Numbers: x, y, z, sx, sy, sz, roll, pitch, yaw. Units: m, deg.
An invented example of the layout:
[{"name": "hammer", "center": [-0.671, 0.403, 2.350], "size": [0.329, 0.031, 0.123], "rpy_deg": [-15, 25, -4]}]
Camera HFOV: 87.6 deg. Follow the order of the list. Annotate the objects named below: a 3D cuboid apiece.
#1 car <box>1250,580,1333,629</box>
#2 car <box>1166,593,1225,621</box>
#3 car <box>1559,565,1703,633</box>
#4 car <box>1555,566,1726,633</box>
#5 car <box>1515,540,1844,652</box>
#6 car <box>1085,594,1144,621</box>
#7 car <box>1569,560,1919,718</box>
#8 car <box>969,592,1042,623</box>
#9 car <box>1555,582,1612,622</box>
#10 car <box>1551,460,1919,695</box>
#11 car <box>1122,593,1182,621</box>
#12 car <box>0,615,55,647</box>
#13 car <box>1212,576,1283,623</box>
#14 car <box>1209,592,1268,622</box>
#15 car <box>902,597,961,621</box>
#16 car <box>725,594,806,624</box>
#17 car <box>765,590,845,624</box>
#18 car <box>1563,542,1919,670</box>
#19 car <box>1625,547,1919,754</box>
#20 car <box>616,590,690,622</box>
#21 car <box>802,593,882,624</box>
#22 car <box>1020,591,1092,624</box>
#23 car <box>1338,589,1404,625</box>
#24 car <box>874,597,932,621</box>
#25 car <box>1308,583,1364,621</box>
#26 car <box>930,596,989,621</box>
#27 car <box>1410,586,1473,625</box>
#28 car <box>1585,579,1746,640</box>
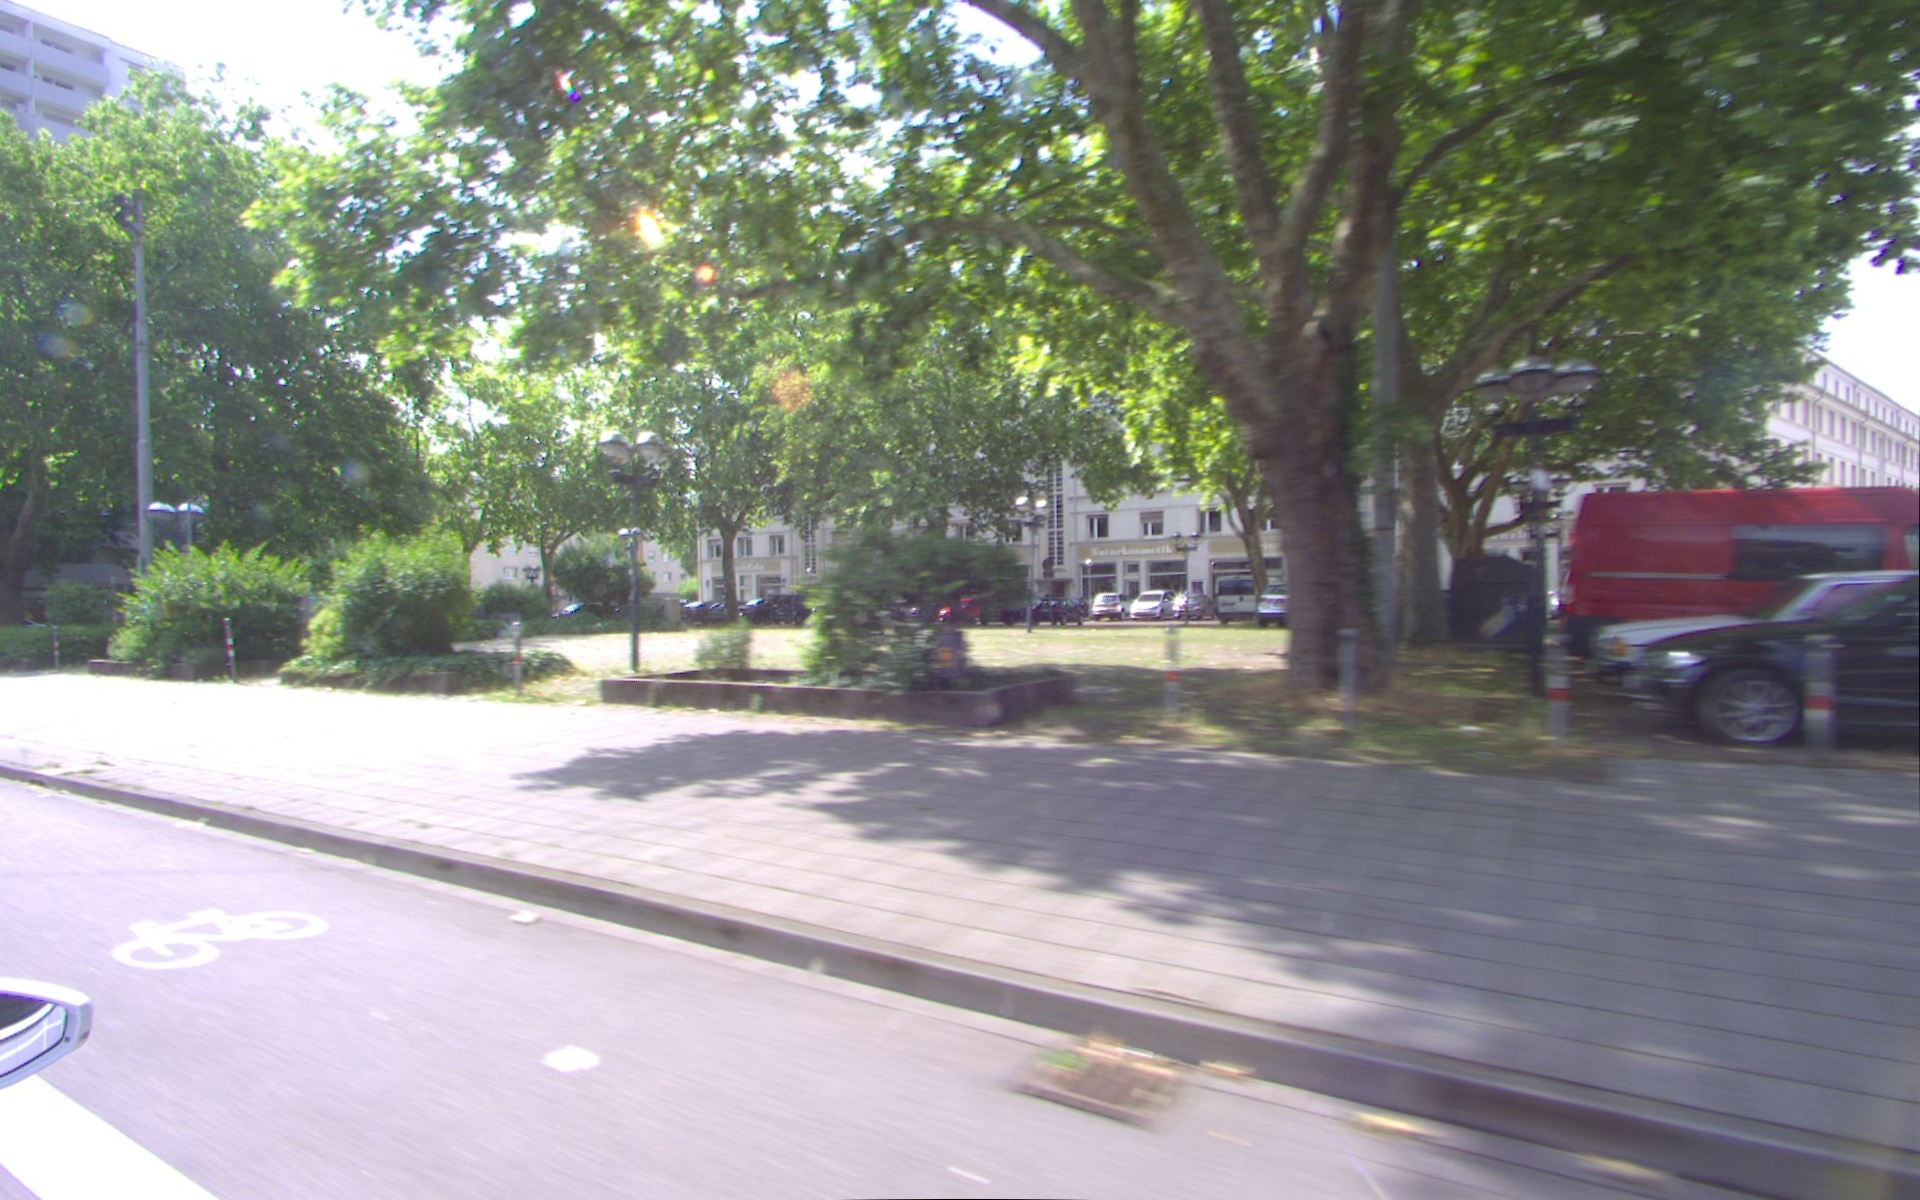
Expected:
[{"name": "car", "center": [12.143, 0.136, 36.557], "size": [1.971, 1.658, 4.143], "rpy_deg": [0, 1, 32]}, {"name": "car", "center": [13.707, 0.382, 58.037], "size": [1.957, 1.570, 4.671], "rpy_deg": [0, 1, 32]}, {"name": "car", "center": [20.865, -0.037, 31.323], "size": [3.587, 2.014, 1.819], "rpy_deg": [0, 1, 30]}, {"name": "car", "center": [19.767, -0.007, 29.316], "size": [3.987, 1.844, 1.820], "rpy_deg": [0, 0, 30]}, {"name": "car", "center": [12.696, -0.043, 18.042], "size": [4.587, 1.777, 2.002], "rpy_deg": [0, 0, 34]}, {"name": "car", "center": [9.379, 0.440, 60.407], "size": [1.957, 1.570, 4.415], "rpy_deg": [0, 1, 32]}, {"name": "car", "center": [8.627, 0.355, 10.256], "size": [3.980, 1.449, 1.647], "rpy_deg": [0, 1, 29]}, {"name": "car", "center": [2.420, 0.374, 52.377], "size": [1.957, 1.542, 4.245], "rpy_deg": [0, 1, 32]}, {"name": "car", "center": [29.611, 0.063, 47.515], "size": [2.161, 1.829, 4.730], "rpy_deg": [0, 1, 34]}, {"name": "car", "center": [10.799, -0.256, 12.376], "size": [5.935, 2.617, 2.106], "rpy_deg": [0, 1, 34]}, {"name": "car", "center": [11.351, 0.398, 58.987], "size": [1.957, 1.570, 4.671], "rpy_deg": [0, 1, 32]}, {"name": "car", "center": [-44.296, 1.436, 45.626], "size": [1.674, 1.409, 4.493], "rpy_deg": [-1, 0, 8]}, {"name": "car", "center": [13.088, -0.034, 45.412], "size": [2.047, 2.041, 4.245], "rpy_deg": [0, 1, 32]}, {"name": "car", "center": [15.840, 0.362, 56.736], "size": [2.008, 1.570, 4.671], "rpy_deg": [0, 1, 32]}, {"name": "car", "center": [-1.893, 0.587, 67.826], "size": [1.957, 1.542, 4.245], "rpy_deg": [0, 1, 32]}, {"name": "car", "center": [-11.845, 0.506, 61.257], "size": [2.161, 1.729, 4.668], "rpy_deg": [0, 1, 34]}, {"name": "car", "center": [-9.292, 0.401, 60.202], "size": [2.161, 1.956, 4.668], "rpy_deg": [0, 1, 34]}, {"name": "car", "center": [11.697, 0.101, 14.914], "size": [4.587, 1.672, 2.002], "rpy_deg": [0, 0, 34]}, {"name": "car", "center": [7.590, 0.355, 7.746], "size": [3.983, 1.490, 1.645], "rpy_deg": [0, 1, 31]}, {"name": "car", "center": [-20.213, 0.353, 66.122], "size": [2.048, 2.041, 4.403], "rpy_deg": [0, 1, 33]}, {"name": "car", "center": [-6.953, 0.493, 59.397], "size": [2.161, 1.729, 4.668], "rpy_deg": [0, 1, 34]}, {"name": "car", "center": [4.909, 0.363, 50.885], "size": [1.957, 1.542, 4.245], "rpy_deg": [0, 1, 32]}, {"name": "car", "center": [17.366, 0.267, 42.245], "size": [1.931, 1.440, 4.156], "rpy_deg": [0, 1, 32]}, {"name": "car", "center": [-3.904, 0.595, 69.597], "size": [1.957, 1.542, 4.245], "rpy_deg": [0, 1, 32]}, {"name": "car", "center": [20.343, 0.084, 54.064], "size": [2.008, 1.956, 4.671], "rpy_deg": [0, 1, 32]}, {"name": "car", "center": [0.018, 0.570, 66.275], "size": [1.957, 1.542, 4.245], "rpy_deg": [0, 1, 32]}, {"name": "car", "center": [20.161, 0.215, 41.848], "size": [1.971, 1.544, 4.143], "rpy_deg": [0, 1, 32]}, {"name": "car", "center": [18.690, 0.252, 26.701], "size": [3.326, 1.528, 1.597], "rpy_deg": [0, 0, 30]}]
